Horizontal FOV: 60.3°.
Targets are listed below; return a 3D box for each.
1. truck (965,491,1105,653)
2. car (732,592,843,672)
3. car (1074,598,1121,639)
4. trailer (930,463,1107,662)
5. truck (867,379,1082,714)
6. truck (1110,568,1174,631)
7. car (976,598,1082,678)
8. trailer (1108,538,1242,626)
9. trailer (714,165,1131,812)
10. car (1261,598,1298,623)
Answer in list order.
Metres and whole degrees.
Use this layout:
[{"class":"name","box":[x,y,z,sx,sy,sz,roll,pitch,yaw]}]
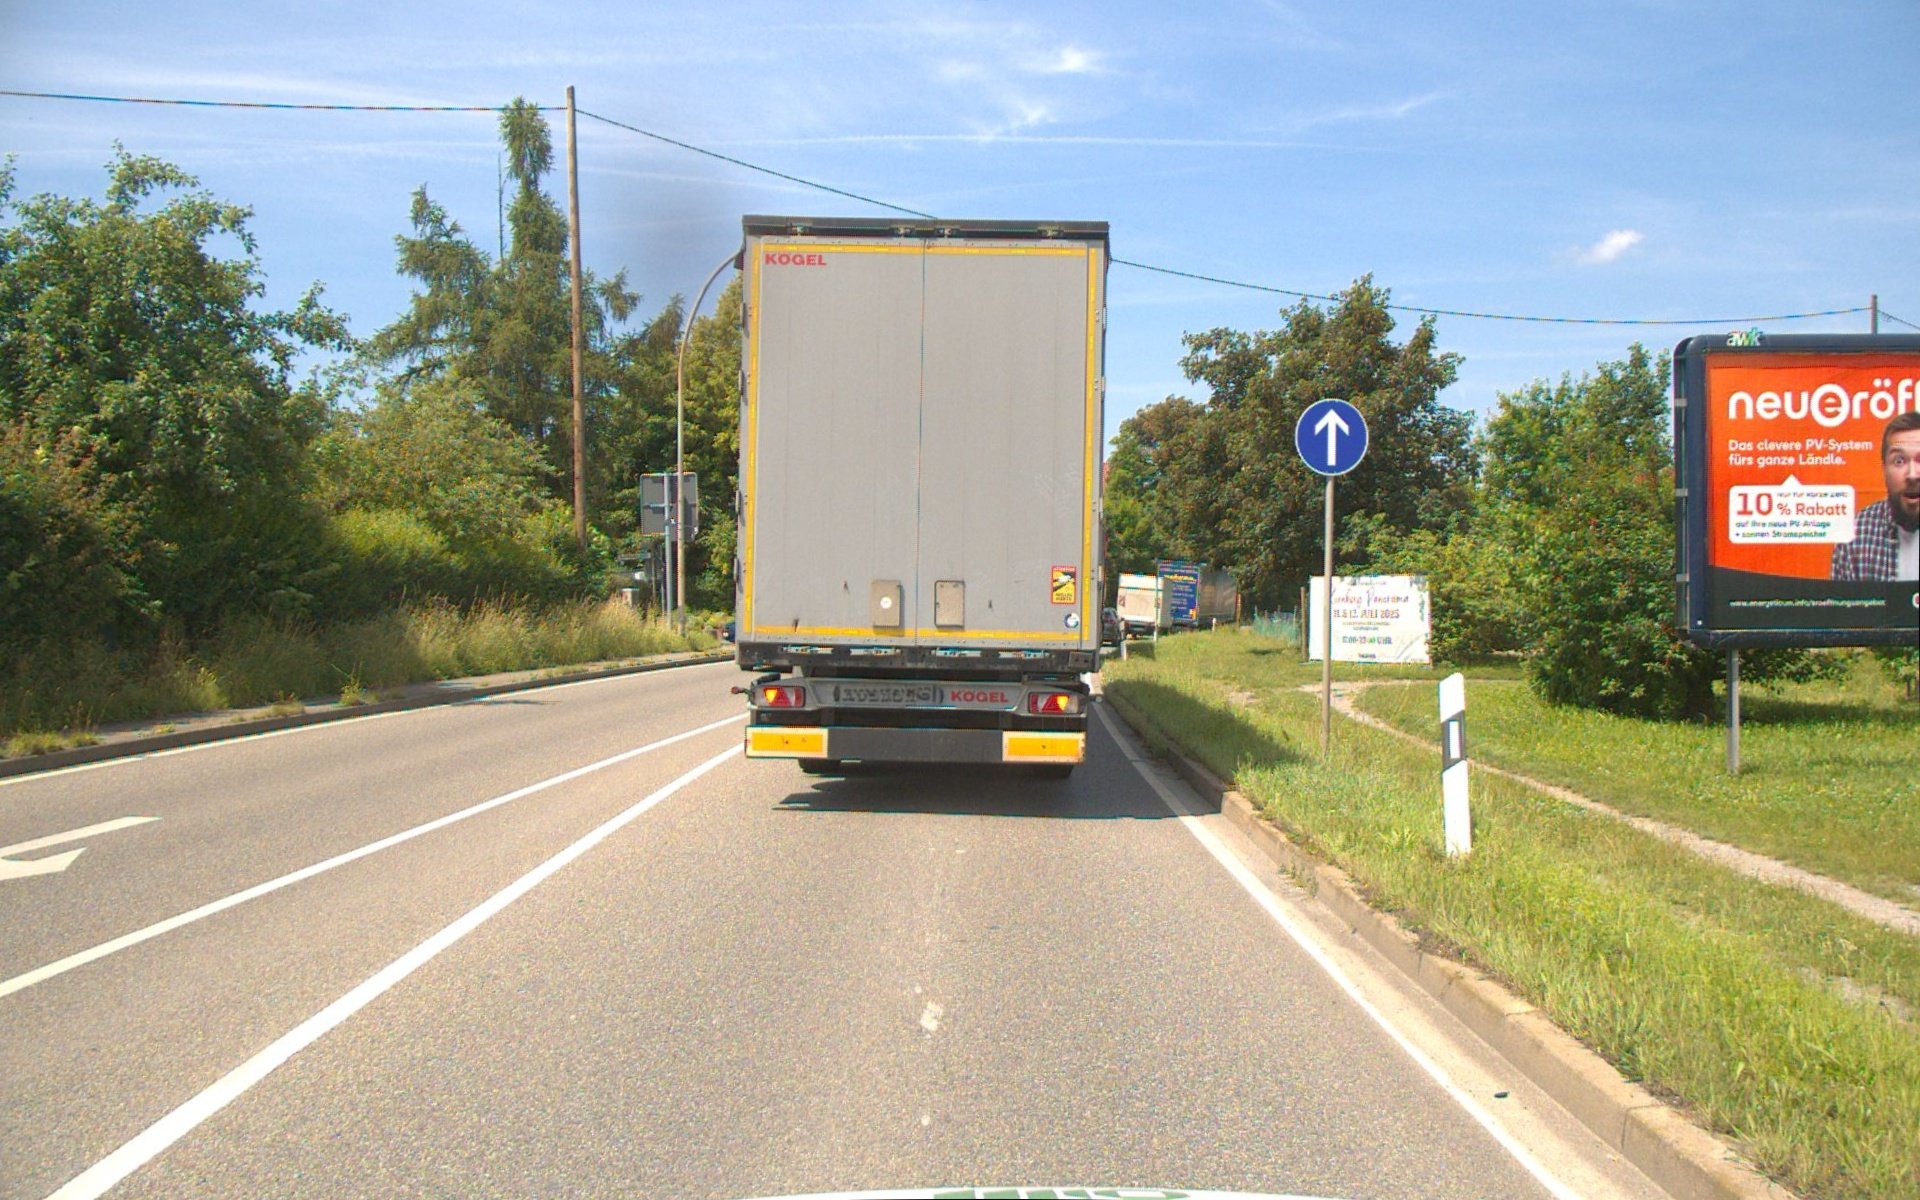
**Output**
[{"class":"truck","box":[2.486,-0.823,51.537,3.853,4.655,7.157,0,0,6]},{"class":"car","box":[-3.401,0.597,33.079,1.588,1.405,3.562,3,1,3]},{"class":"car","box":[5.555,0.714,66.467,1.802,1.512,4.003,1,1,6]},{"class":"trailer","box":[1.916,-0.947,44.785,3.808,4.600,12.723,1,1,6]},{"class":"truck","box":[0.325,-0.716,24.111,2.688,4.238,6.145,1,1,3]},{"class":"truck","box":[8.807,-0.038,79.546,2.369,2.888,5.417,1,1,13]},{"class":"car","box":[1.515,0.755,35.048,1.951,1.556,4.003,1,1,6]},{"class":"trailer","box":[12.888,-1.059,96.986,5.070,4.709,15.904,1,1,17]},{"class":"trailer","box":[0.011,-0.811,17.044,2.729,4.278,12.115,1,1,3]},{"class":"car","box":[23.228,0.731,120.143,1.953,1.713,4.000,1,1,22]}]
